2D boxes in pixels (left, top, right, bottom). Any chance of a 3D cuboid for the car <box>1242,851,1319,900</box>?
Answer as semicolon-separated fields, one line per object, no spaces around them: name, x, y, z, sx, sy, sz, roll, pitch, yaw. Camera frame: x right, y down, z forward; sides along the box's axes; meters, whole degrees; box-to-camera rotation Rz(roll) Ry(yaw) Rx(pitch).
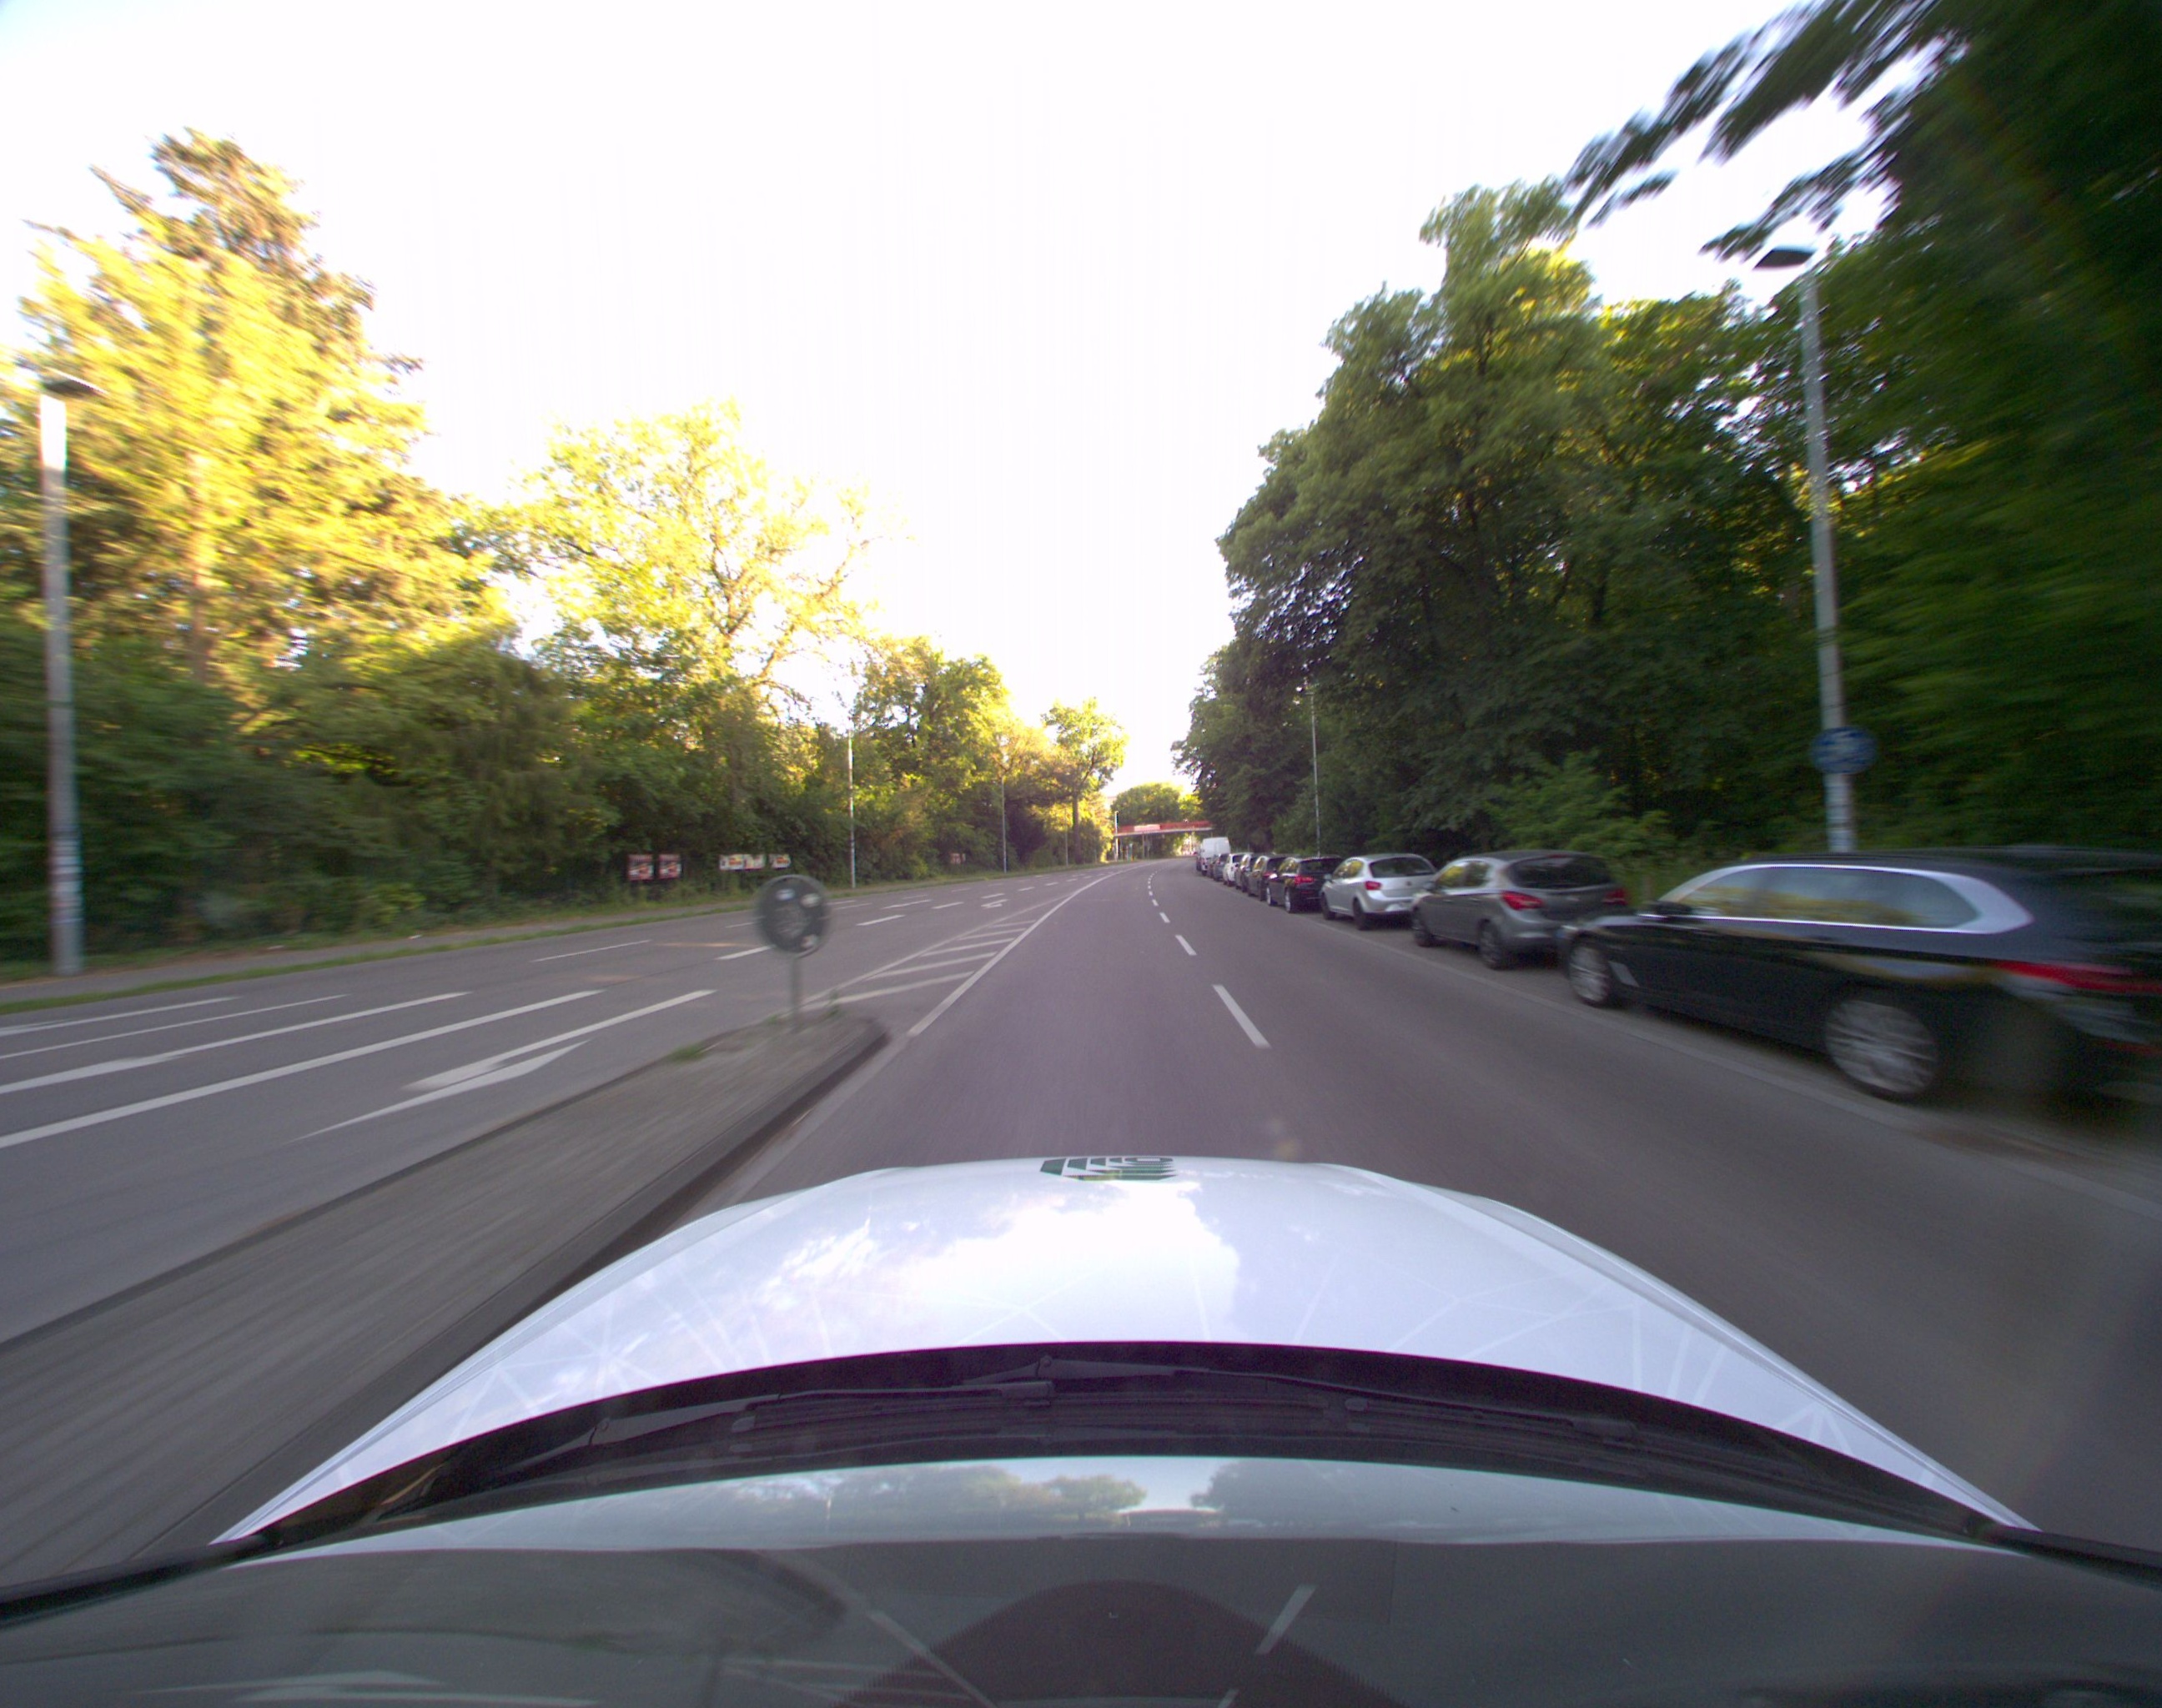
car;6.589;0.674;27.365;1.710;1.411;4.492;-3;0;4

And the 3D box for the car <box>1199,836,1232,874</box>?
car;9.172;0.067;55.761;1.894;2.423;5.587;-3;0;7

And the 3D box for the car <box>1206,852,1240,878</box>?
car;8.615;0.637;49.704;1.669;1.400;4.658;-3;0;6

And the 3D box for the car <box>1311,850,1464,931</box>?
car;6.214;0.682;17.034;1.711;1.411;4.126;-3;0;2

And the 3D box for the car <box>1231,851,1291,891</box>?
car;7.141;0.651;32.717;1.709;1.411;4.914;-3;0;5

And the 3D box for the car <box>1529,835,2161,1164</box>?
car;5.623;0.671;6.266;1.711;1.469;4.990;-3;0;2

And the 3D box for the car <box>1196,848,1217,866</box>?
car;11.410;0.250;74.408;1.749;1.535;5.000;-3;0;8

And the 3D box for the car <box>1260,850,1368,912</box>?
car;6.144;0.668;21.986;1.711;1.411;4.490;-3;0;2

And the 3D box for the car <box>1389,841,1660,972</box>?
car;6.088;0.637;11.830;1.711;1.469;4.204;-3;0;2

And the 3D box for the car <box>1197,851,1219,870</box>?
car;10.715;0.536;68.666;1.668;1.535;4.362;-3;0;8

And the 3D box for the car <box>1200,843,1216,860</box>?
car;16.104;-0.291;103.290;1.857;1.981;5.489;-3;0;9

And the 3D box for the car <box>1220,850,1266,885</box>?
car;7.562;0.614;38.183;1.669;1.464;3.694;-3;0;5

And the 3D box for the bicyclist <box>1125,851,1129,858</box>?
bicyclist;9.839;0.105;172.805;0.708;1.559;1.145;-1;-1;9

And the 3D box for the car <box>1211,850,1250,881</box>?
car;8.022;0.596;43.978;1.669;1.464;4.073;-3;0;6

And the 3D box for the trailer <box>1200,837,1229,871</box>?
trailer;10.205;0.003;62.486;1.894;2.423;5.137;-3;0;7
